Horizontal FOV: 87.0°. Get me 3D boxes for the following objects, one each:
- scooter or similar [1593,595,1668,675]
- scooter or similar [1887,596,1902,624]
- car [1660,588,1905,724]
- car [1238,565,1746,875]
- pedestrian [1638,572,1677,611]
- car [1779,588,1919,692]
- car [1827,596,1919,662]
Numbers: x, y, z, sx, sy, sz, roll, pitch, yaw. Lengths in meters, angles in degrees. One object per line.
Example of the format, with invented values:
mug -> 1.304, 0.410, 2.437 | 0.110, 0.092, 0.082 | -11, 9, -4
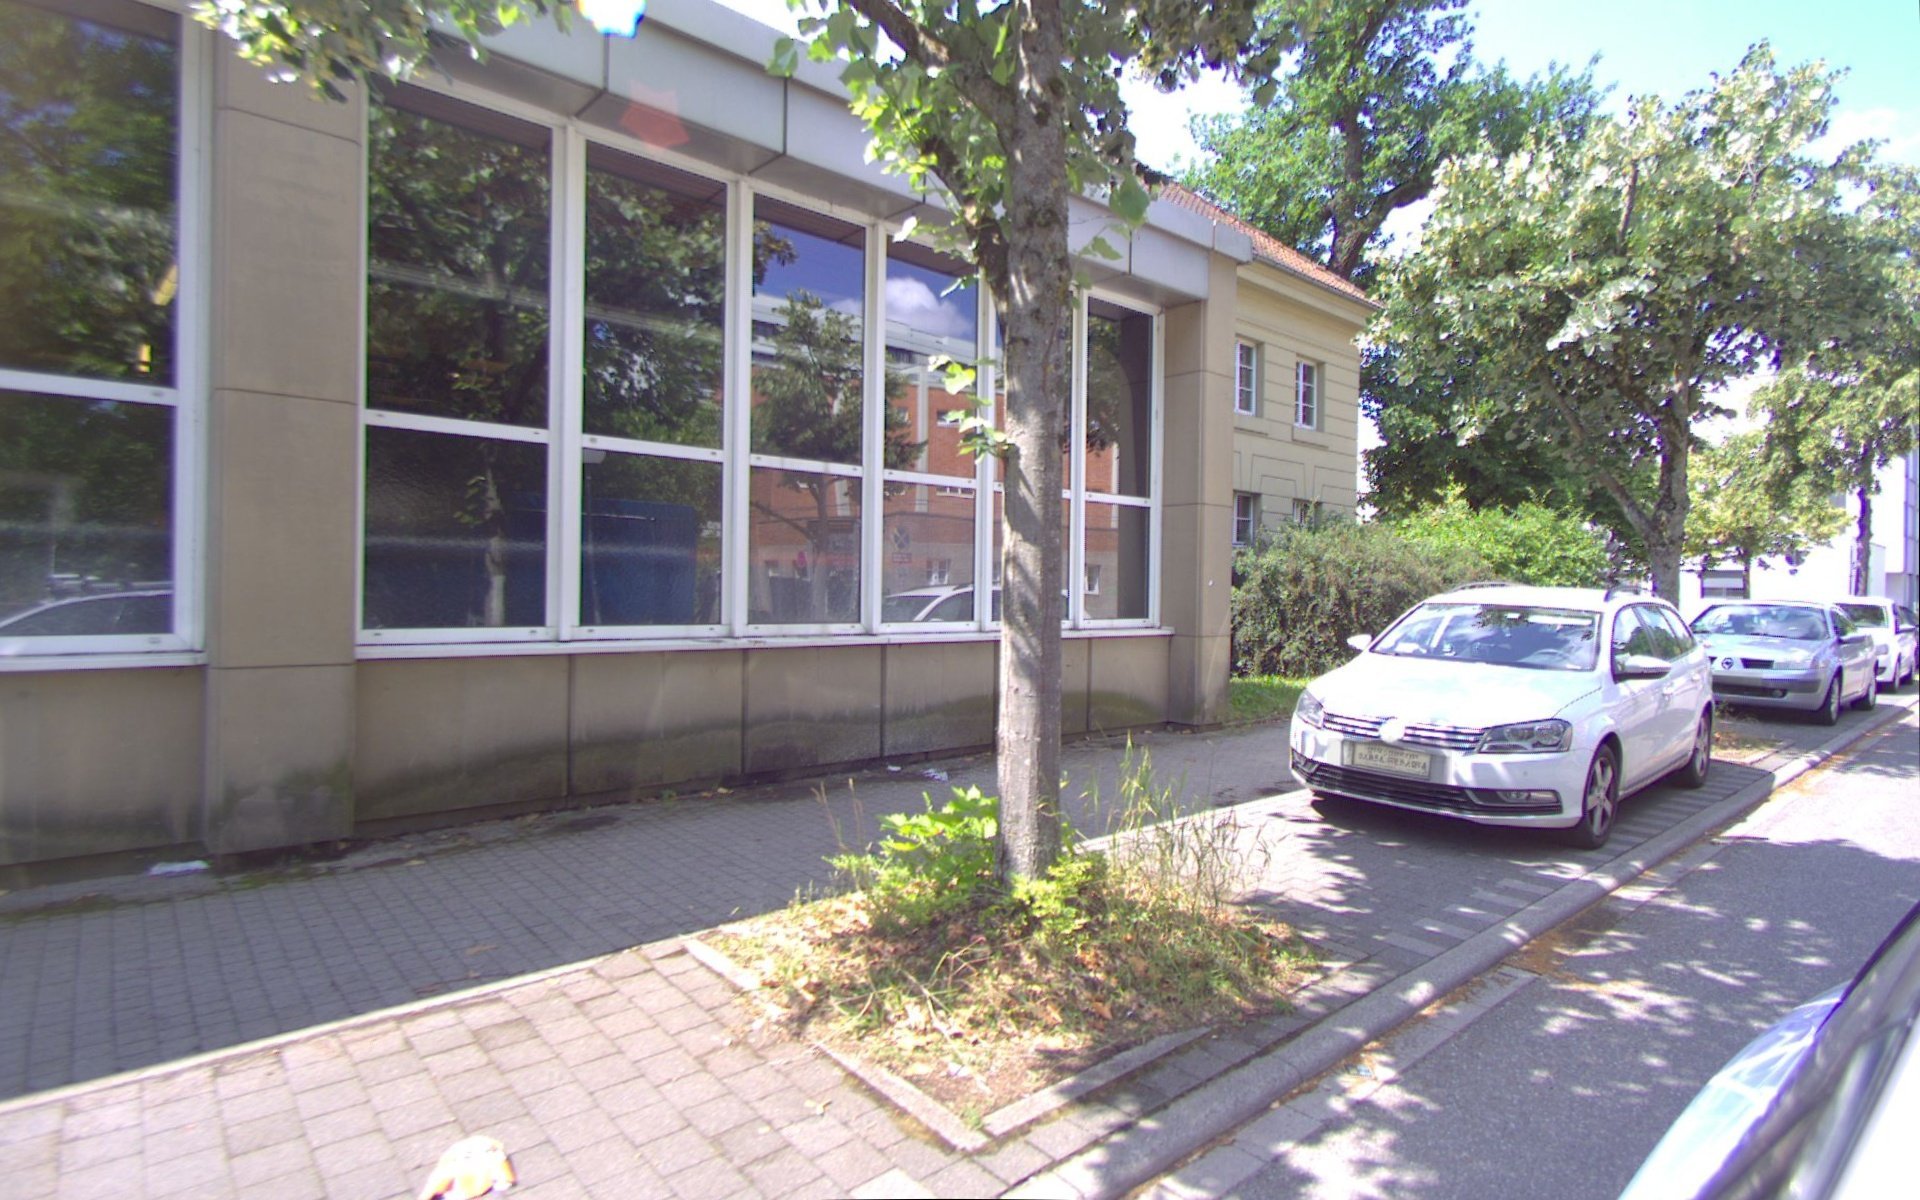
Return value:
scooter or similar -> 10.810, 0.544, 16.313 | 1.211, 1.237, 0.522 | 0, 1, -31
scooter or similar -> 43.351, 0.460, 46.938 | 1.054, 1.251, 0.327 | 0, 0, -39
car -> 10.269, 0.607, 12.537 | 3.918, 1.408, 1.650 | 1, 1, -40
car -> 3.971, 0.558, 7.113 | 4.593, 1.485, 1.728 | 0, 2, -43
pedestrian -> 34.614, -0.432, 50.231 | 1.000, 1.822, 1.174 | 2, 1, -13
car -> 14.785, 0.556, 16.605 | 3.922, 1.484, 1.589 | -1, 2, -44
car -> 20.316, 0.590, 21.945 | 3.929, 1.296, 1.711 | 0, 1, -40
